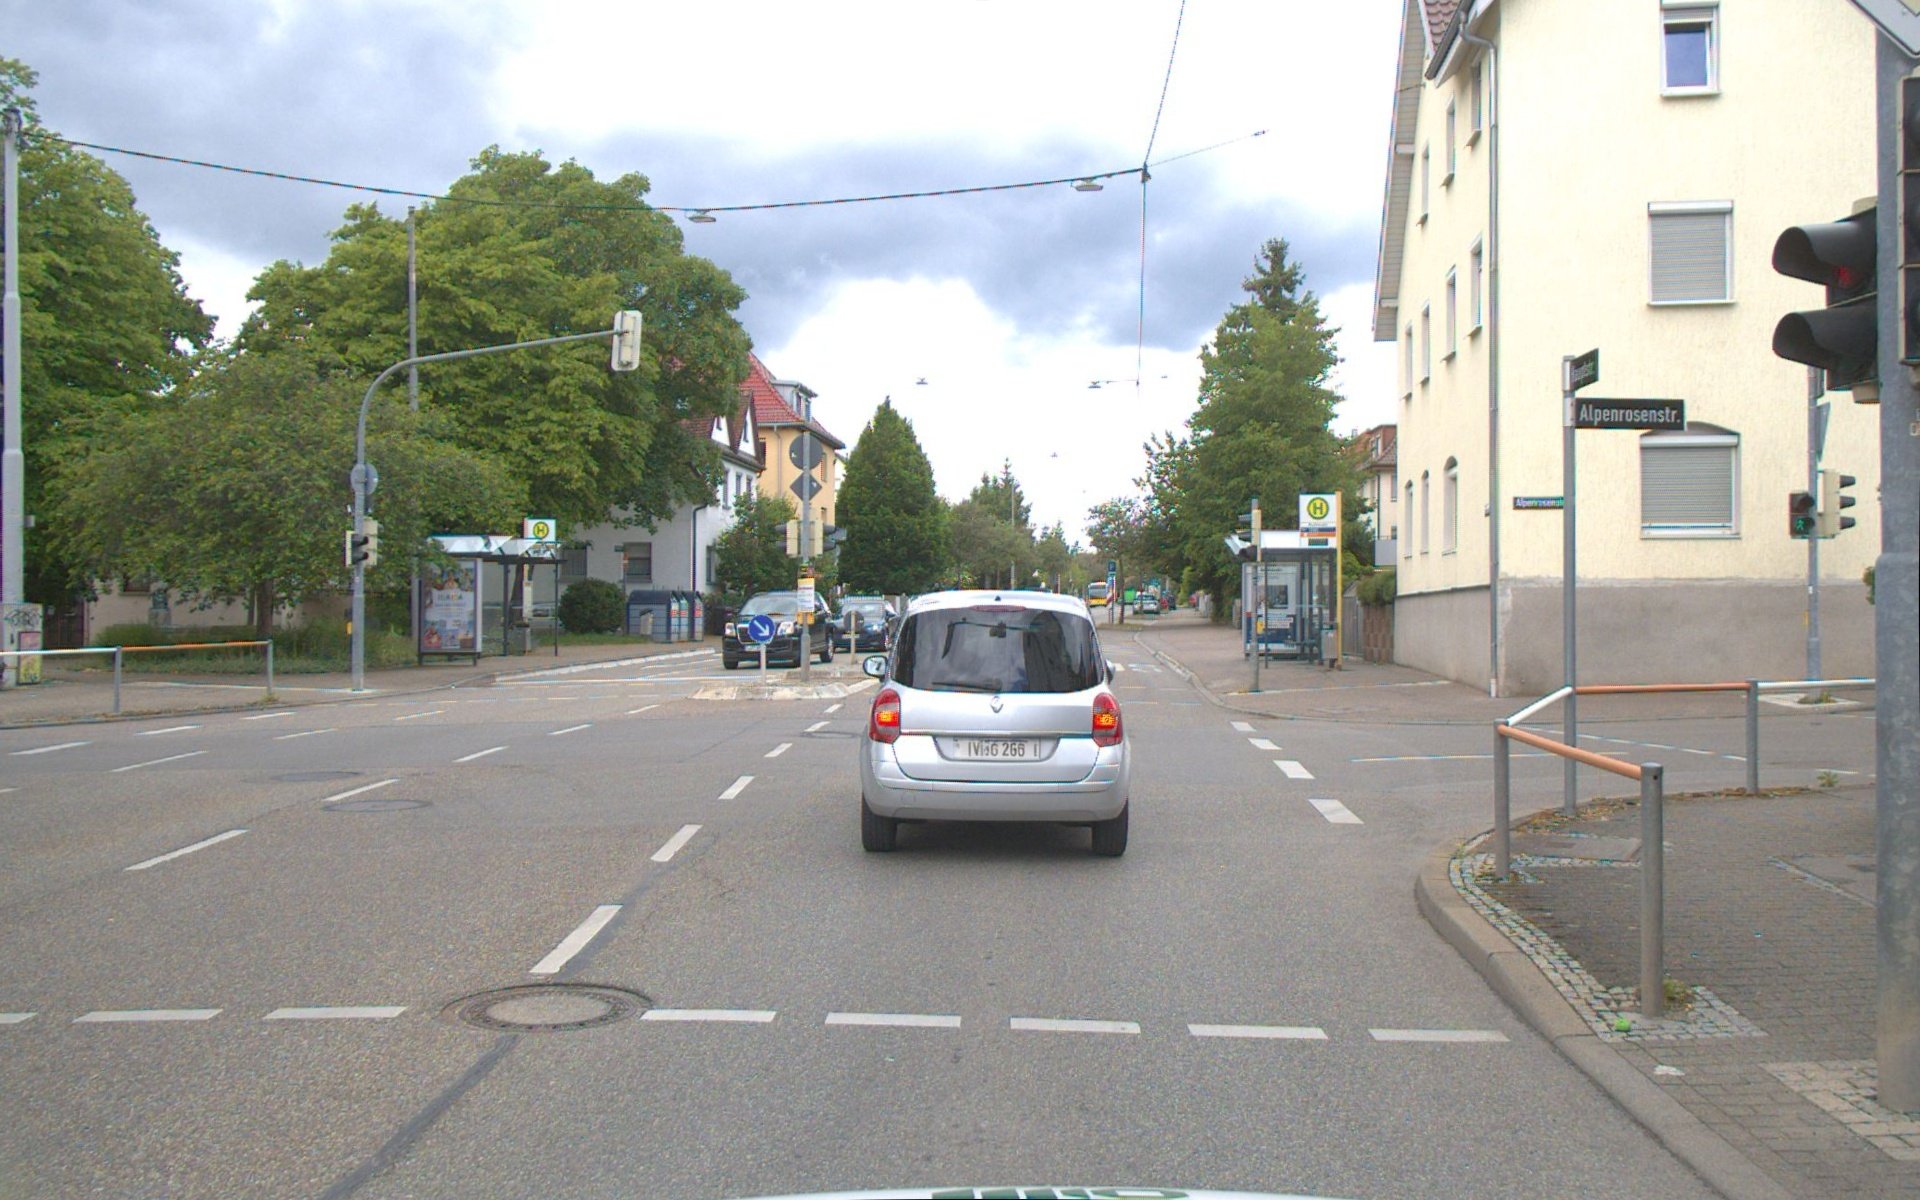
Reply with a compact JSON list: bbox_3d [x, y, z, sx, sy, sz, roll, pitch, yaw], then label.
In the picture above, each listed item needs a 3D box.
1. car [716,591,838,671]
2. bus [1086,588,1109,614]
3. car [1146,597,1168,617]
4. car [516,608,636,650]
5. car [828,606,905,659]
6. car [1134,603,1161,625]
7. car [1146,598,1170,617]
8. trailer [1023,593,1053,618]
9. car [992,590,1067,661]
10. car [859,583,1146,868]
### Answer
[{"bbox_3d":[-4.109,0.712,37.837,1.721,1.664,4.598,-2,-2,7],"label":"car"},{"bbox_3d":[18.077,0.146,217.025,2.576,3.140,12.078,-2,0,7],"label":"bus"},{"bbox_3d":[15.671,0.542,131.858,1.627,1.592,4.101,0,0,6],"label":"car"},{"bbox_3d":[-14.040,1.070,60.590,3.903,1.355,1.723,-2,-2,6],"label":"car"},{"bbox_3d":[-2.633,0.944,47.468,1.530,1.445,4.133,0,-1,6],"label":"car"},{"bbox_3d":[12.337,0.942,108.672,1.615,1.407,4.003,0,-1,8],"label":"car"},{"bbox_3d":[15.255,0.595,127.462,1.627,1.417,3.671,0,0,10],"label":"car"},{"bbox_3d":[7.062,0.508,149.563,2.263,2.123,5.876,1,-1,6],"label":"trailer"},{"bbox_3d":[1.713,0.631,41.456,1.791,1.705,3.575,0,-1,1],"label":"car"},{"bbox_3d":[0.245,0.745,11.395,1.596,1.584,3.999,1,-1,0],"label":"car"}]
